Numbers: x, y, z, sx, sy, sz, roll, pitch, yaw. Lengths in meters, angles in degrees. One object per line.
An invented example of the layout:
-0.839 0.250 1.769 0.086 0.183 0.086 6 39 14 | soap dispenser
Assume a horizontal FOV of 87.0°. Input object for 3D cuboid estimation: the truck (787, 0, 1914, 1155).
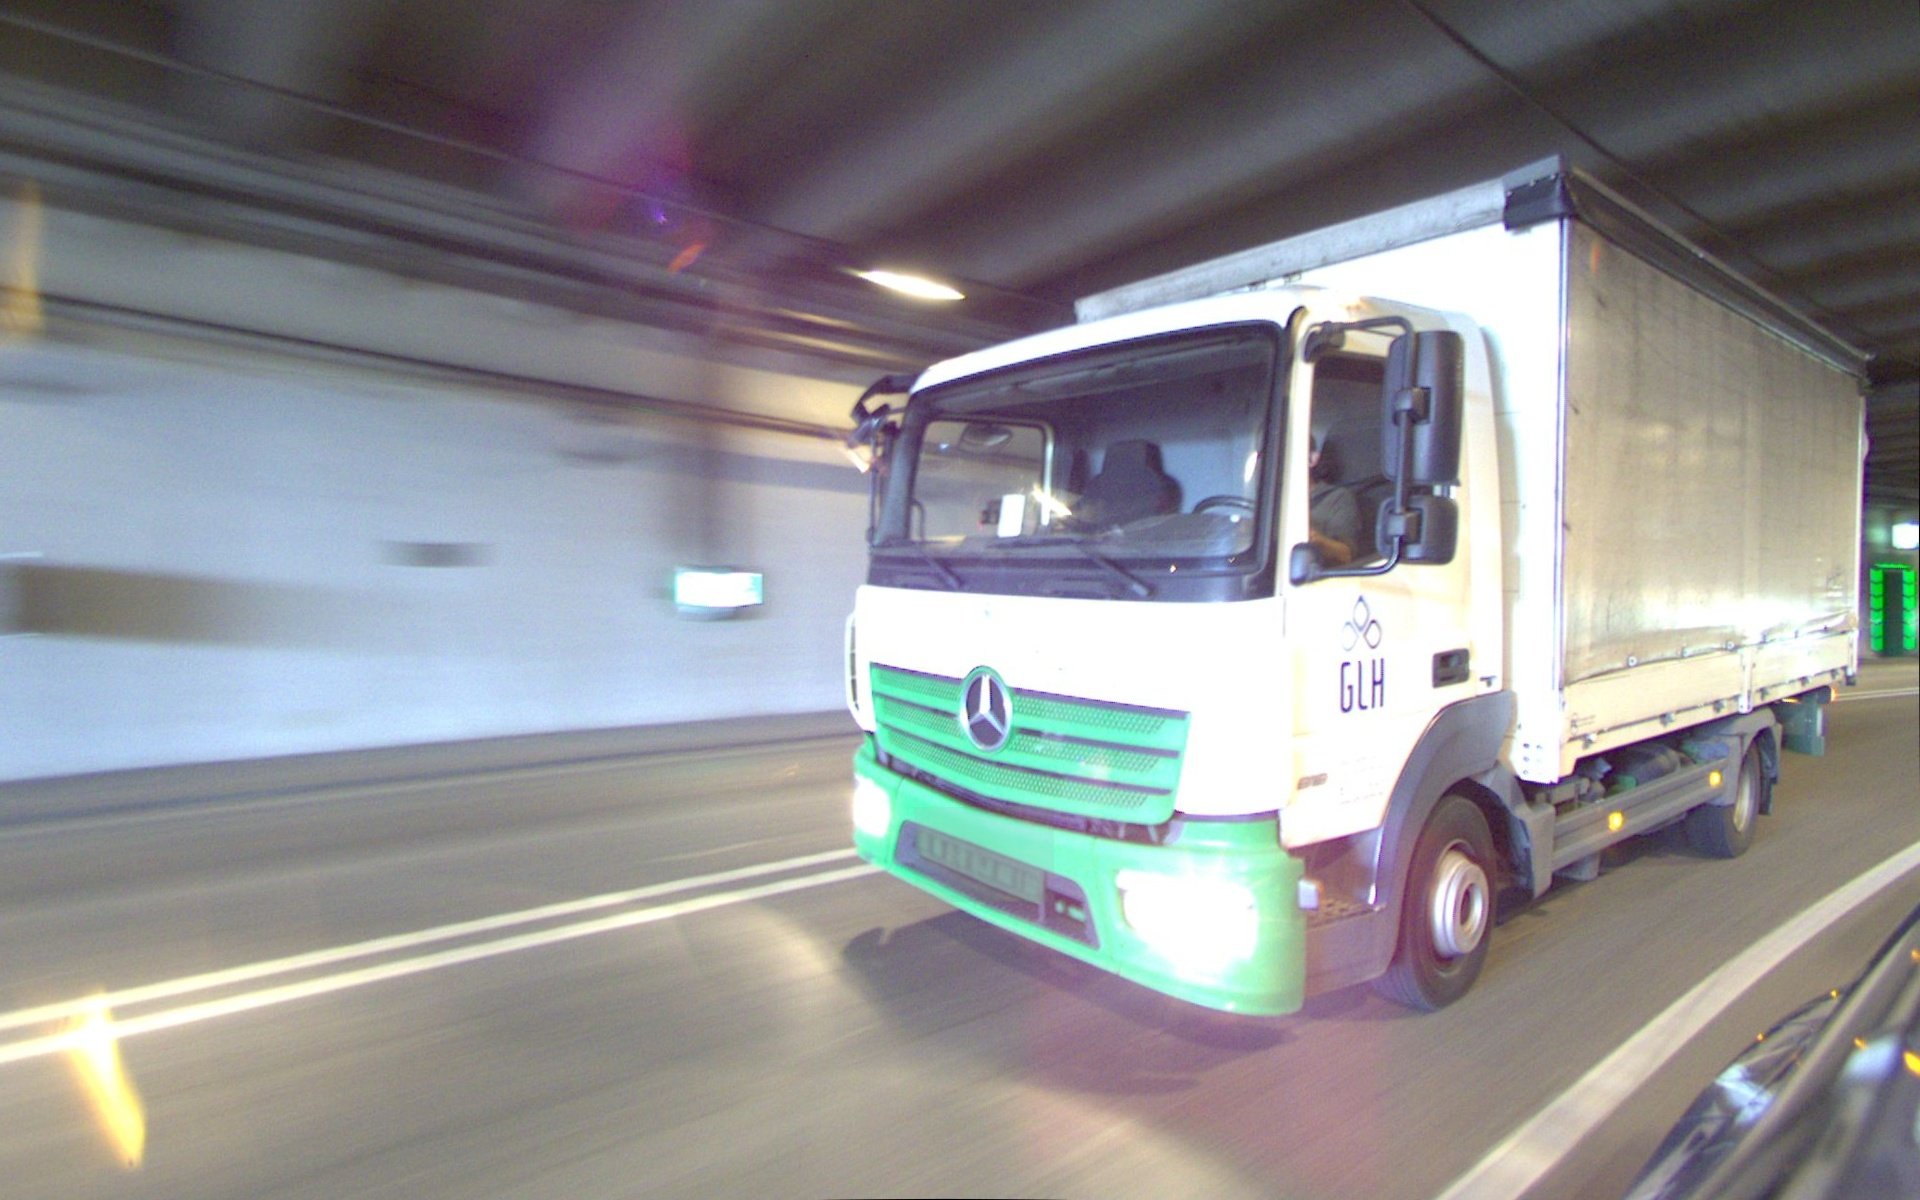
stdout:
2.878 -0.249 5.825 7.278 3.280 2.637 0 0 -37 | truck
